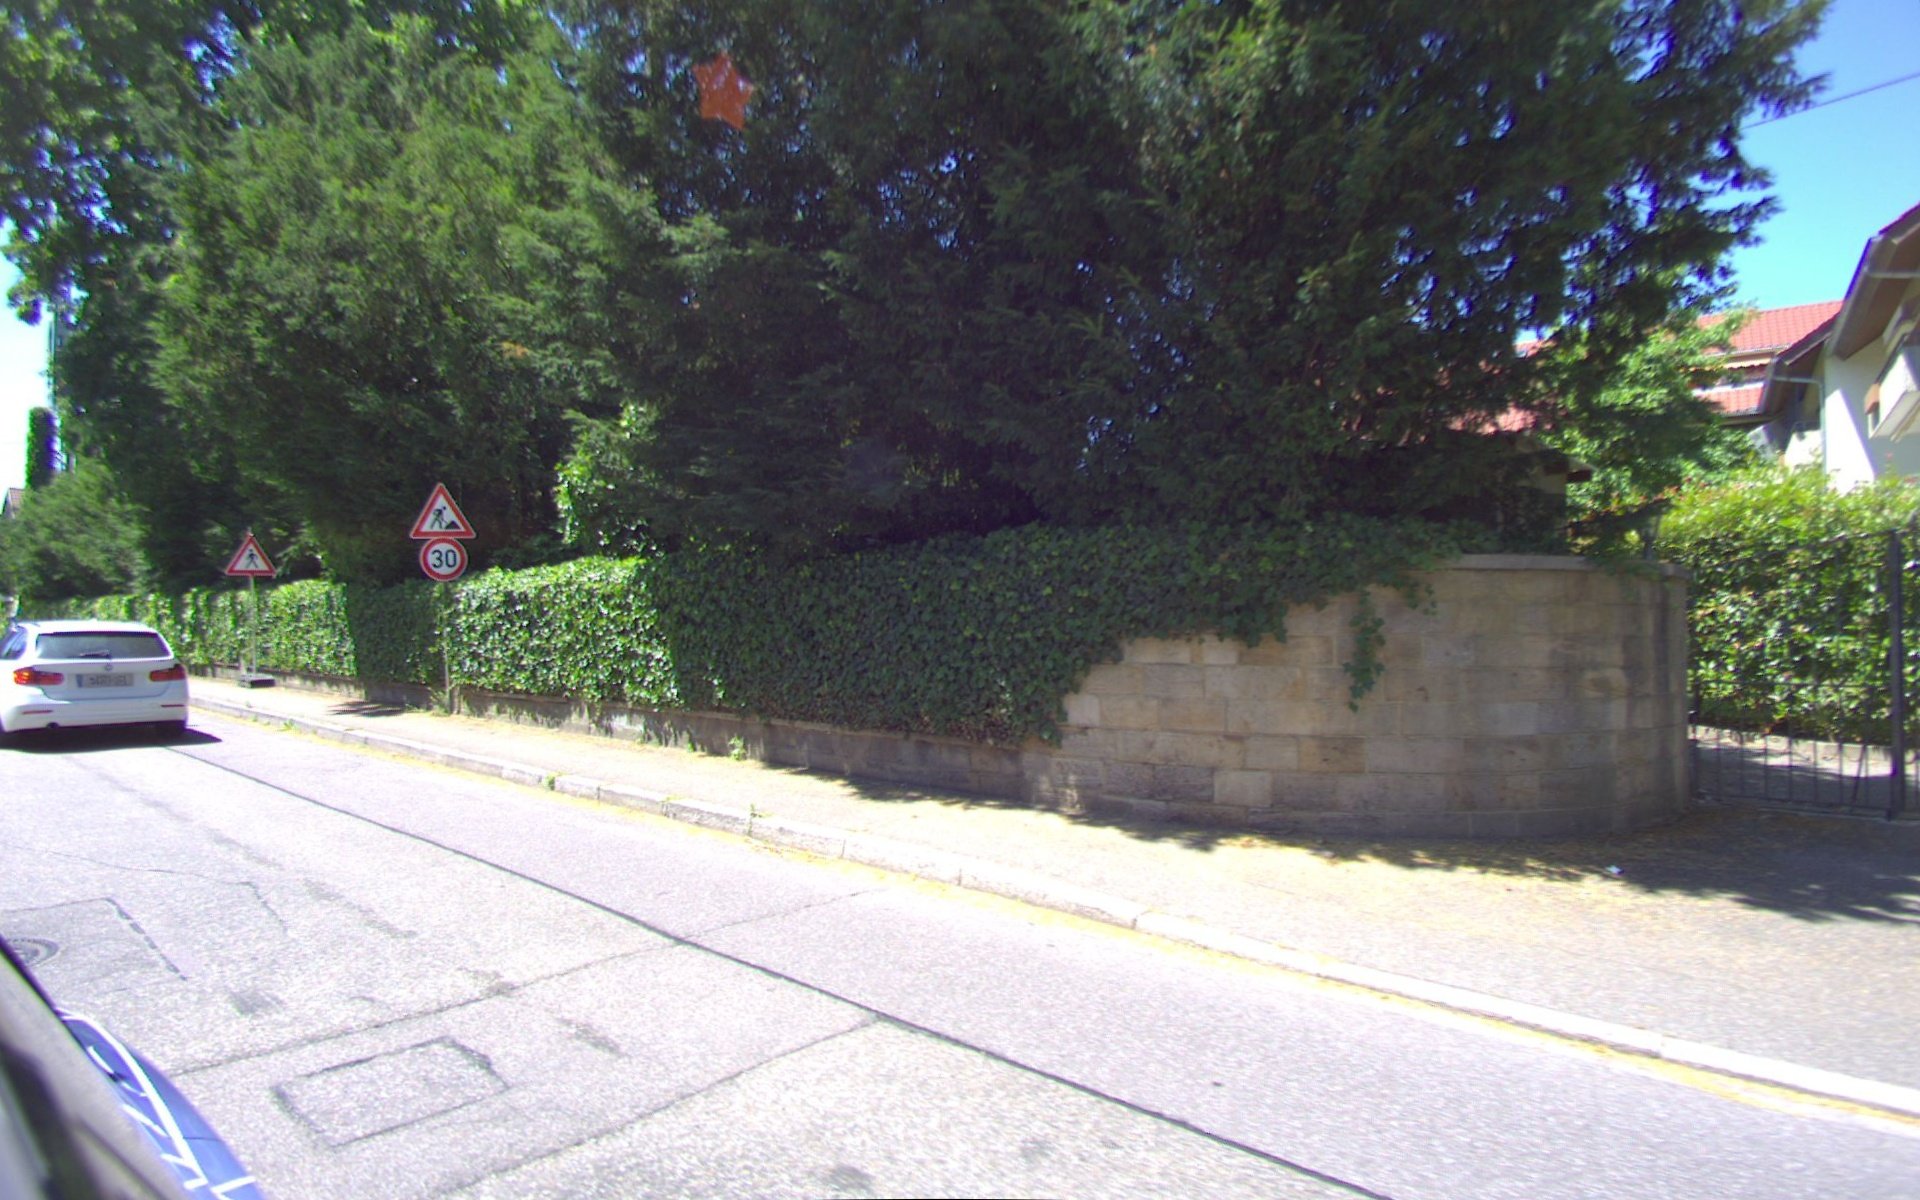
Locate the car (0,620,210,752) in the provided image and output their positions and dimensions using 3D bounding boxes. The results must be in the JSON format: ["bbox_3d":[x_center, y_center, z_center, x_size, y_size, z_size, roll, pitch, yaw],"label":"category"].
[{"bbox_3d":[-11.306,0.996,12.871,4.601,1.394,1.845,-2,-4,41],"label":"car"}]
